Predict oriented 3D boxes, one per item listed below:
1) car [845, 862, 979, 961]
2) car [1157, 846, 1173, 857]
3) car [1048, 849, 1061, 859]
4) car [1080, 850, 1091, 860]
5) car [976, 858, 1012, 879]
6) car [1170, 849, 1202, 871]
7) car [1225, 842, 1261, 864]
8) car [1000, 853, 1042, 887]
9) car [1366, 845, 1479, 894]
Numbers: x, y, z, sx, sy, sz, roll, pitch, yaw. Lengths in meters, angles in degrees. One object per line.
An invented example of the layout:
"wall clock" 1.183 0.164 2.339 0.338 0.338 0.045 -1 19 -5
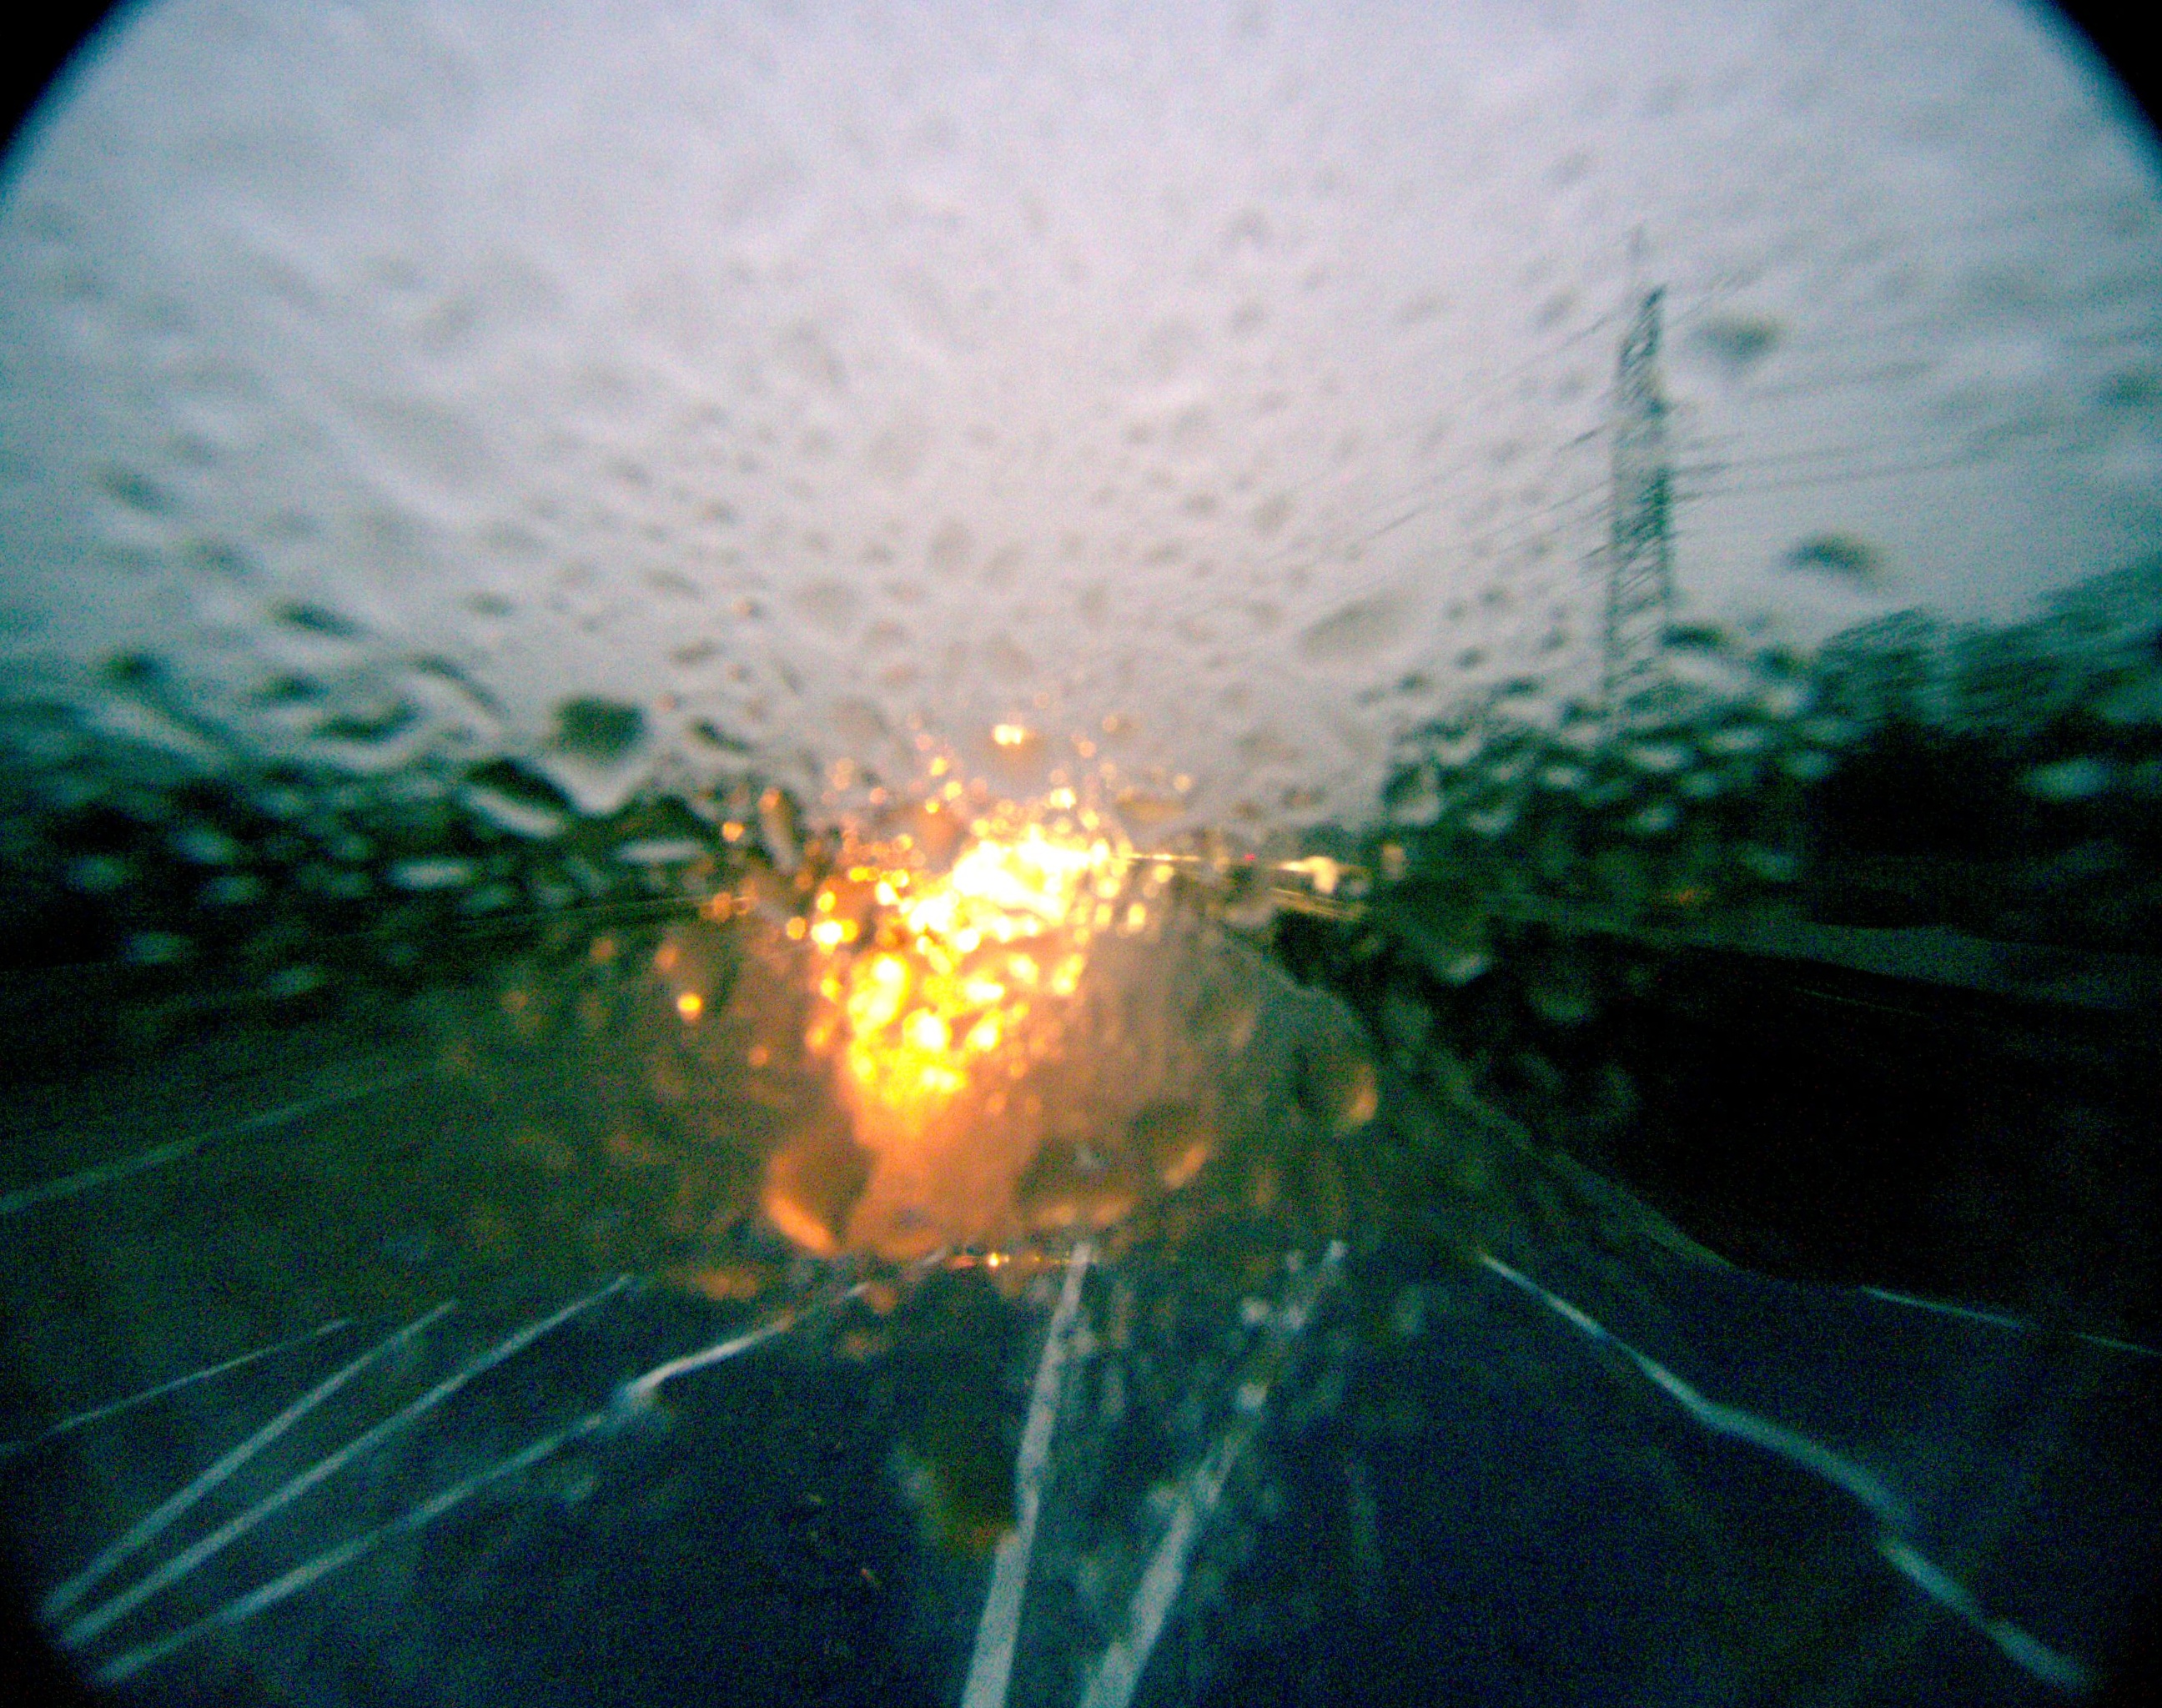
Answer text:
"car" -3.003 0.956 14.179 1.598 1.482 3.594 -2 1 1
"car" 12.290 -0.410 111.898 1.801 1.562 4.753 -2 1 0
"car" -4.053 0.018 114.703 1.802 1.494 4.001 -2 -1 0
"car" 0.679 0.151 115.516 1.632 1.466 3.999 -1 1 0
"car" -6.547 1.061 57.684 1.791 1.426 3.822 -2 1 7
"car" 7.789 0.403 56.497 1.702 1.497 4.409 3 1 0
"car" 12.557 -0.126 59.135 1.998 1.572 4.000 -2 1 2
"car" -2.909 0.756 37.412 1.682 1.500 3.808 -2 1 1
"car" 11.112 0.447 25.078 1.760 1.399 4.409 -2 1 0
